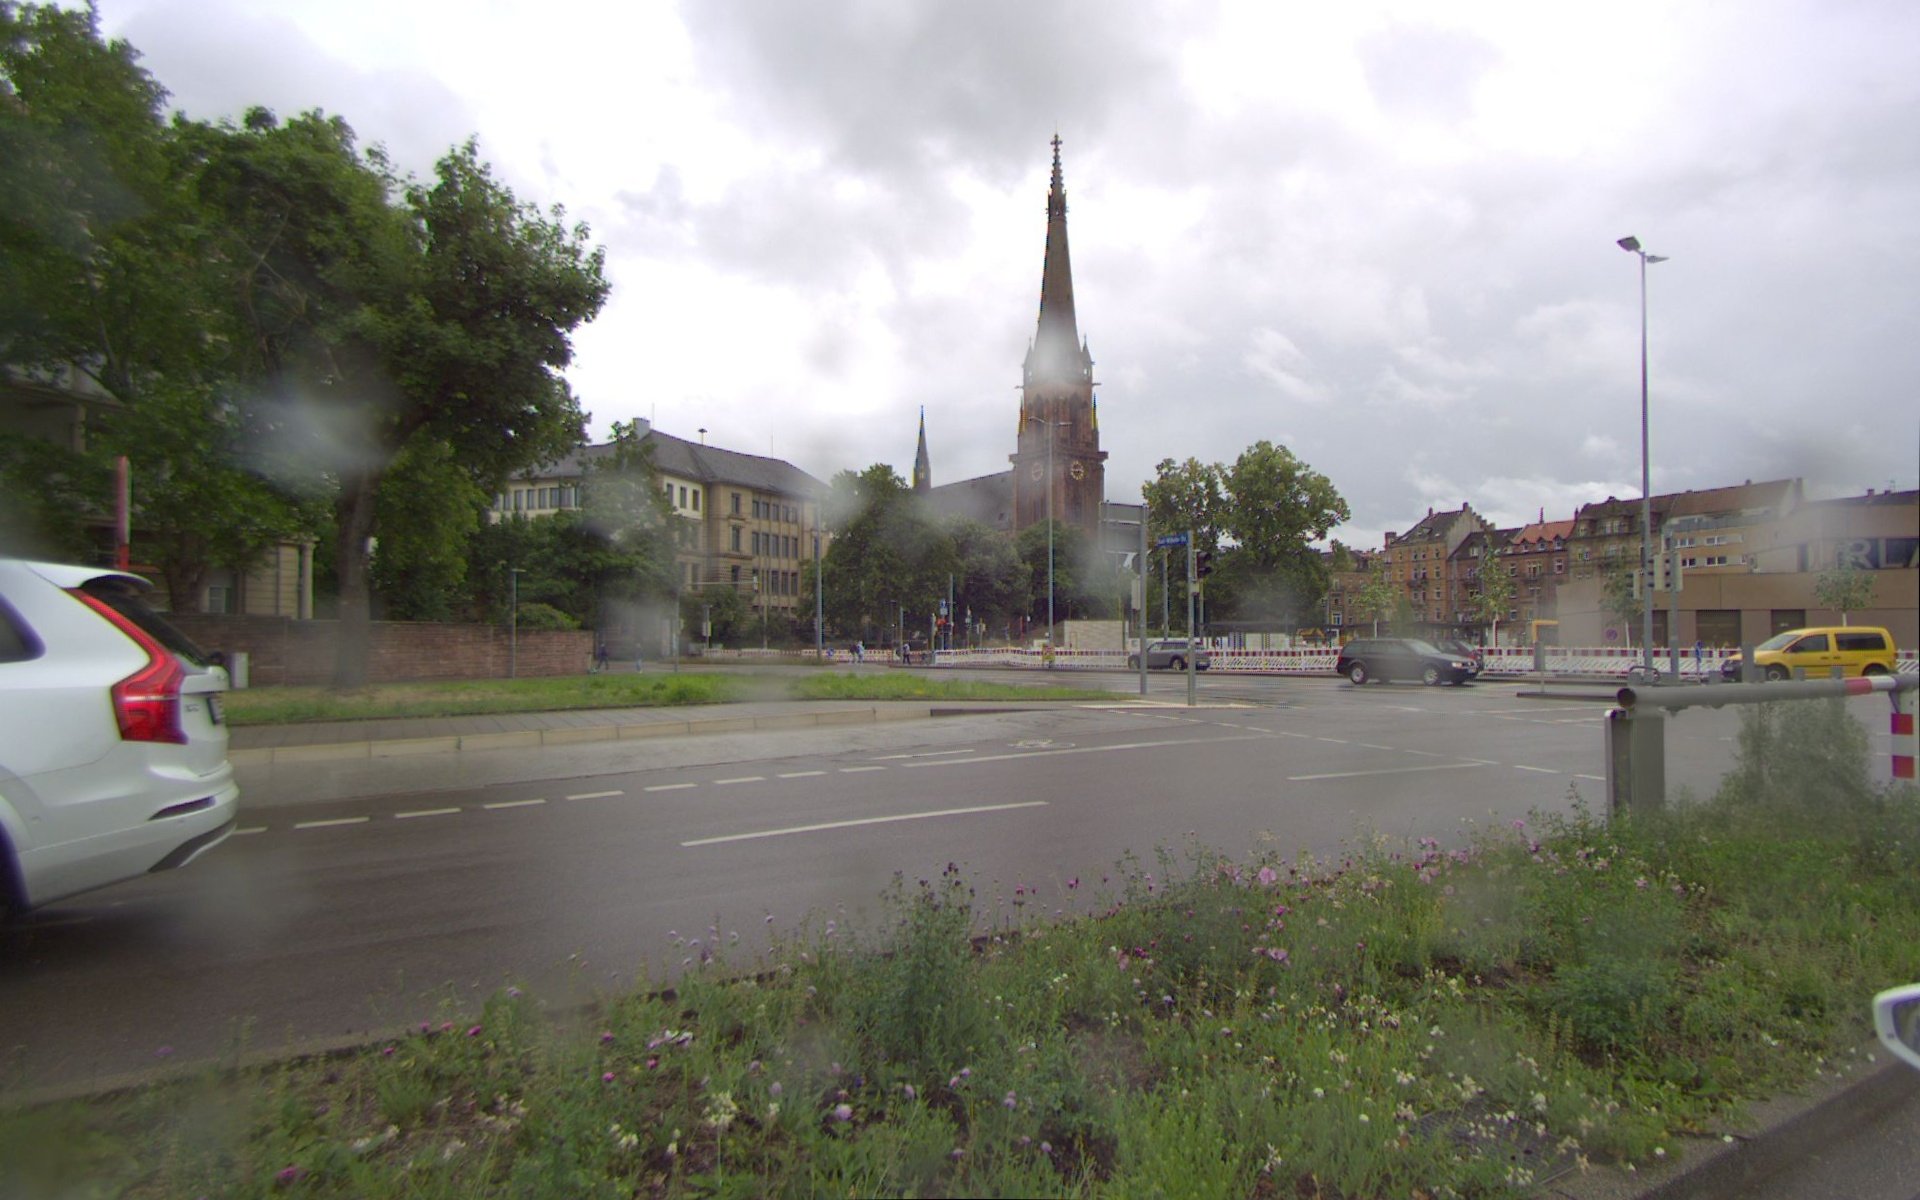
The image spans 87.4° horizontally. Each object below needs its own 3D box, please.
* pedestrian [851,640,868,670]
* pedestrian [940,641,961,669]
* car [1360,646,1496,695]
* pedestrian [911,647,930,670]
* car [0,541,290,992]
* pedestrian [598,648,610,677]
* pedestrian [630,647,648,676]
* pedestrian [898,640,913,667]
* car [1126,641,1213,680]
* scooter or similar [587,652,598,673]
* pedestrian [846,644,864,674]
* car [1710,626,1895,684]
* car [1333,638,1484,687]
[{"bbox_3d":[-6.934,3.802,69.207,0.945,2.040,0.852,1,-2,-30],"label":"pedestrian"},{"bbox_3d":[-0.684,4.057,73.977,0.981,2.040,1.305,-1,-2,34],"label":"pedestrian"},{"bbox_3d":[17.535,2.599,37.740,4.388,1.728,1.705,-1,-2,36],"label":"car"},{"bbox_3d":[-2.790,4.111,70.974,0.917,1.560,1.057,-1,-2,34],"label":"pedestrian"},{"bbox_3d":[-5.583,0.647,3.667,5.108,1.703,1.817,1,-4,-32],"label":"car"},{"bbox_3d":[-24.042,4.230,67.814,0.590,1.915,0.607,0,-2,0],"label":"pedestrian"},{"bbox_3d":[-16.797,3.199,52.543,0.662,1.520,0.774,0,-2,0],"label":"pedestrian"},{"bbox_3d":[-3.626,3.540,67.081,0.765,1.801,0.720,1,-2,-30],"label":"pedestrian"},{"bbox_3d":[9.676,2.757,46.563,1.695,1.728,3.780,1,-2,-37],"label":"car"},{"bbox_3d":[-19.377,3.289,52.970,0.274,1.096,1.078,0,-2,-4],"label":"scooter or similar"},{"bbox_3d":[-7.318,4.125,70.022,0.945,2.040,0.852,1,-2,-30],"label":"pedestrian"},{"bbox_3d":[26.164,1.692,31.336,4.068,1.728,1.712,0,-2,11],"label":"car"},{"bbox_3d":[14.184,1.939,31.975,1.602,1.420,4.163,1,-2,-36],"label":"car"}]
